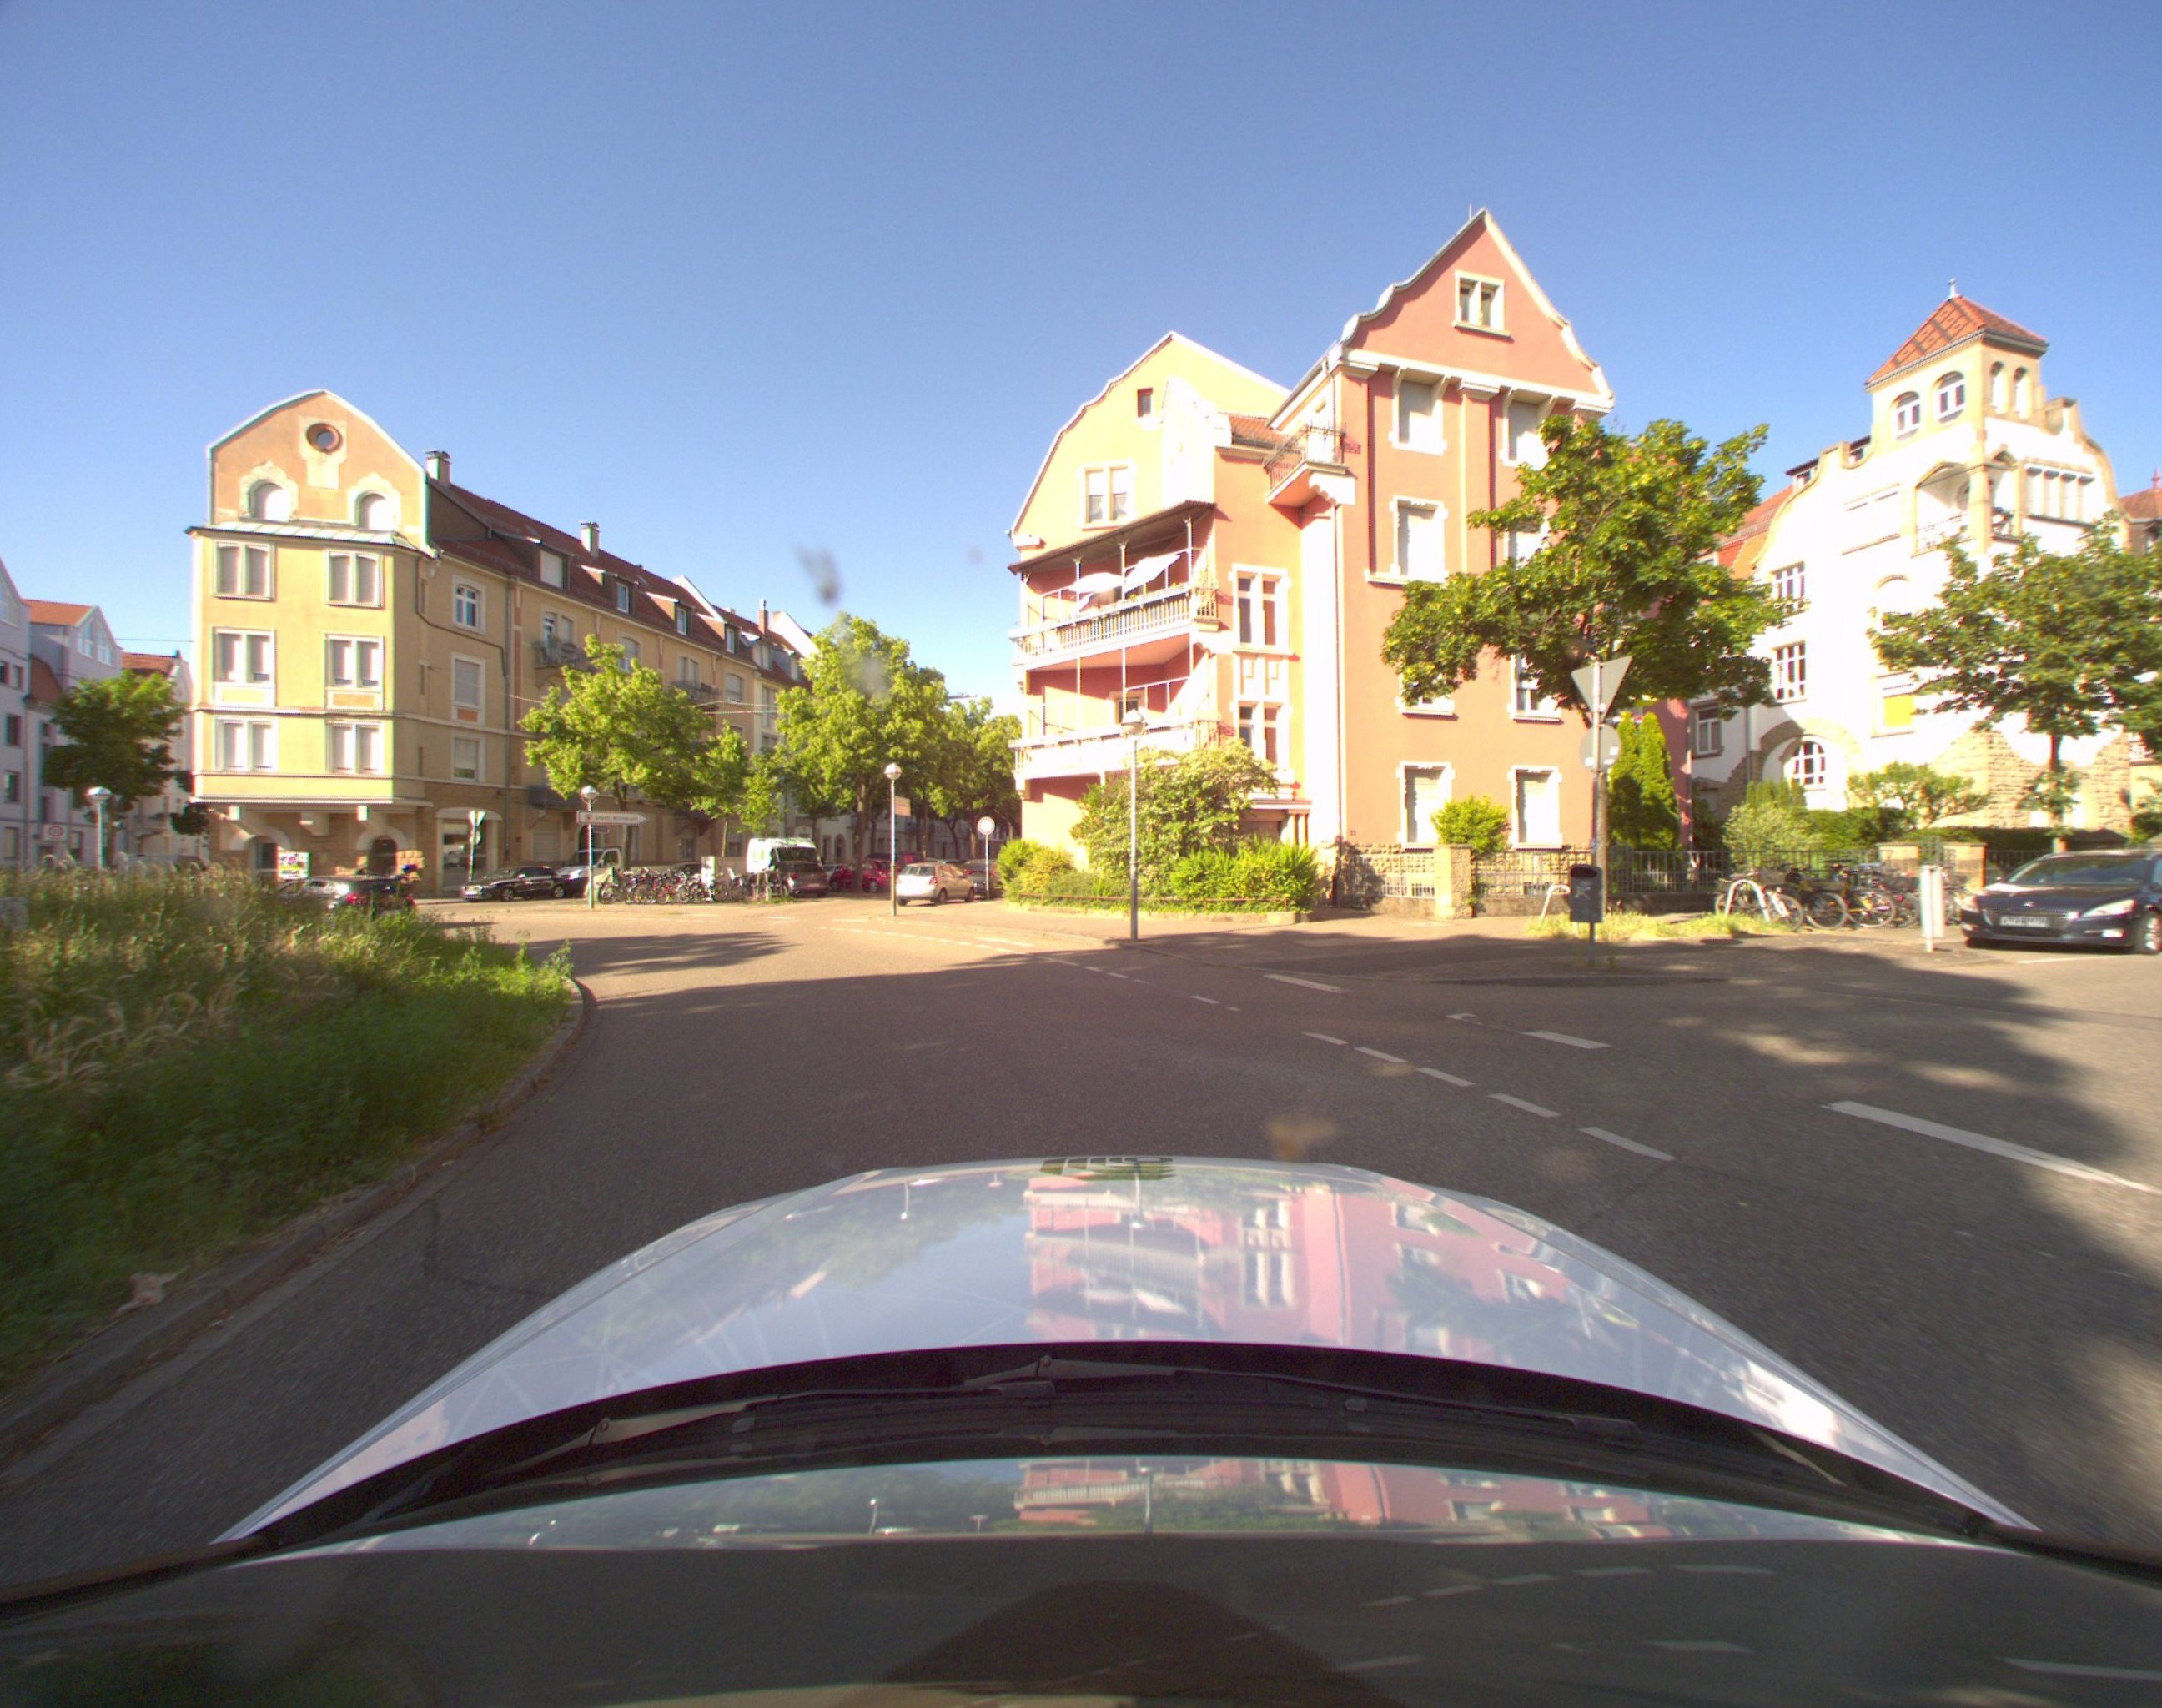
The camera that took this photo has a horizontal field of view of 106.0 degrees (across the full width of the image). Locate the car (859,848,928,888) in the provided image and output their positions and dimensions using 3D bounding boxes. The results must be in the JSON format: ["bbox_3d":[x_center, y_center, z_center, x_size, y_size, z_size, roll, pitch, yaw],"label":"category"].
[{"bbox_3d":[-9.157,0.645,39.689,3.341,1.865,1.698,1,0,43],"label":"car"}]

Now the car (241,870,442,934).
[{"bbox_3d":[-18.686,1.167,20.637,3.957,1.418,1.879,0,2,15],"label":"car"}]

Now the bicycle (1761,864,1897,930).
[{"bbox_3d":[14.051,0.769,15.354,0.502,1.107,1.813,-1,1,-30],"label":"bicycle"}]

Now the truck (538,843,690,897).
[{"bbox_3d":[-21.743,0.693,38.403,2.117,2.292,6.647,-2,0,15],"label":"truck"}]

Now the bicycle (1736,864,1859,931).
[{"bbox_3d":[13.294,0.773,15.180,0.545,1.115,1.719,0,1,-14],"label":"bicycle"}]

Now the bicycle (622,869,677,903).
[{"bbox_3d":[-14.856,1.077,28.105,0.650,1.088,1.737,1,1,15],"label":"bicycle"}]

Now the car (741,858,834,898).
[{"bbox_3d":[-11.746,0.902,32.467,3.872,1.446,1.699,1,0,39],"label":"car"}]

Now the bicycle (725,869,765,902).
[{"bbox_3d":[-12.045,1.123,29.215,0.414,1.086,1.533,1,1,17],"label":"bicycle"}]

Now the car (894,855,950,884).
[{"bbox_3d":[-8.703,0.836,44.456,1.696,1.470,3.346,1,0,-38],"label":"car"}]

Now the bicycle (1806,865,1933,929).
[{"bbox_3d":[15.218,0.799,15.768,0.501,1.107,1.715,0,1,-21],"label":"bicycle"}]

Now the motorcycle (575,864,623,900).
[{"bbox_3d":[-17.658,1.010,29.849,1.692,1.270,0.541,1,0,19],"label":"motorcycle"}]

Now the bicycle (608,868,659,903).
[{"bbox_3d":[-15.533,1.078,28.304,0.583,1.127,1.609,1,1,15],"label":"bicycle"}]

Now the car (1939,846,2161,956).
[{"bbox_3d":[15.766,0.661,12.605,4.338,1.484,1.797,0,-3,-20],"label":"car"}]

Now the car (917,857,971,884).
[{"bbox_3d":[-7.942,0.922,47.058,1.696,1.470,3.346,1,0,-38],"label":"car"}]

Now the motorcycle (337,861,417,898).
[{"bbox_3d":[-27.814,1.009,32.202,2.249,1.411,0.696,2,0,-18],"label":"motorcycle"}]

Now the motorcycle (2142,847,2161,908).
[{"bbox_3d":[26.513,0.572,18.829,2.255,1.430,0.962,0,1,20],"label":"motorcycle"}]

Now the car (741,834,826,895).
[{"bbox_3d":[-13.969,0.427,37.989,2.112,2.600,6.307,1,0,-35],"label":"car"}]

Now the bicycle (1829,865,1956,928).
[{"bbox_3d":[15.815,0.794,15.926,0.500,1.107,1.717,0,1,-17],"label":"bicycle"}]

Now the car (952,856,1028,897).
[{"bbox_3d":[-3.642,0.876,33.483,1.671,1.562,4.311,1,0,14],"label":"car"}]

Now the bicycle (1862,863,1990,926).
[{"bbox_3d":[16.754,0.774,16.209,0.515,1.107,1.717,0,1,-17],"label":"bicycle"}]

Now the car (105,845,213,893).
[{"bbox_3d":[-39.427,0.614,34.960,2.151,1.909,4.510,0,-1,-36],"label":"car"}]

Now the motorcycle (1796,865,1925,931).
[{"bbox_3d":[14.751,0.799,15.465,0.501,1.107,1.715,0,1,-21],"label":"motorcycle"}]

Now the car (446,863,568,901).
[{"bbox_3d":[-22.944,1.070,32.750,1.672,1.390,3.933,-1,0,10],"label":"car"}]

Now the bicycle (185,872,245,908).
[{"bbox_3d":[-28.274,1.154,26.615,0.482,1.123,1.711,-1,0,-14],"label":"bicycle"}]

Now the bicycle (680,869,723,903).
[{"bbox_3d":[-13.121,1.093,28.163,0.414,1.086,1.533,1,1,17],"label":"bicycle"}]

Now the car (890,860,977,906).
[{"bbox_3d":[-5.094,0.963,28.618,1.671,1.446,3.559,1,0,14],"label":"car"}]

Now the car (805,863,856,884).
[{"bbox_3d":[-17.197,1.315,56.126,1.672,1.390,3.933,-1,0,10],"label":"car"}]

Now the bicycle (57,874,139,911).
[{"bbox_3d":[-31.143,1.194,25.830,0.534,1.090,1.873,-1,0,-8],"label":"bicycle"}]

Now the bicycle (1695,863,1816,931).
[{"bbox_3d":[12.332,0.758,14.958,0.545,1.115,1.719,0,1,-14],"label":"bicycle"}]

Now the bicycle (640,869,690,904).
[{"bbox_3d":[-14.237,1.106,27.902,0.495,1.102,1.657,1,1,17],"label":"bicycle"}]

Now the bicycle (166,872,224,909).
[{"bbox_3d":[-28.773,1.159,26.473,0.483,1.123,1.687,-1,0,-16],"label":"bicycle"}]

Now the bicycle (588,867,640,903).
[{"bbox_3d":[-16.297,1.062,28.462,0.532,1.193,1.686,1,1,15],"label":"bicycle"}]

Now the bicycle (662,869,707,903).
[{"bbox_3d":[-13.622,1.089,28.037,0.415,1.089,1.581,1,1,17],"label":"bicycle"}]

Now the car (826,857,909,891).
[{"bbox_3d":[-9.782,0.896,37.281,3.341,1.446,1.698,1,0,27],"label":"car"}]

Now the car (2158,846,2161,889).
[{"bbox_3d":[21.160,0.580,13.889,4.392,1.562,1.800,-1,-3,-15],"label":"car"}]
